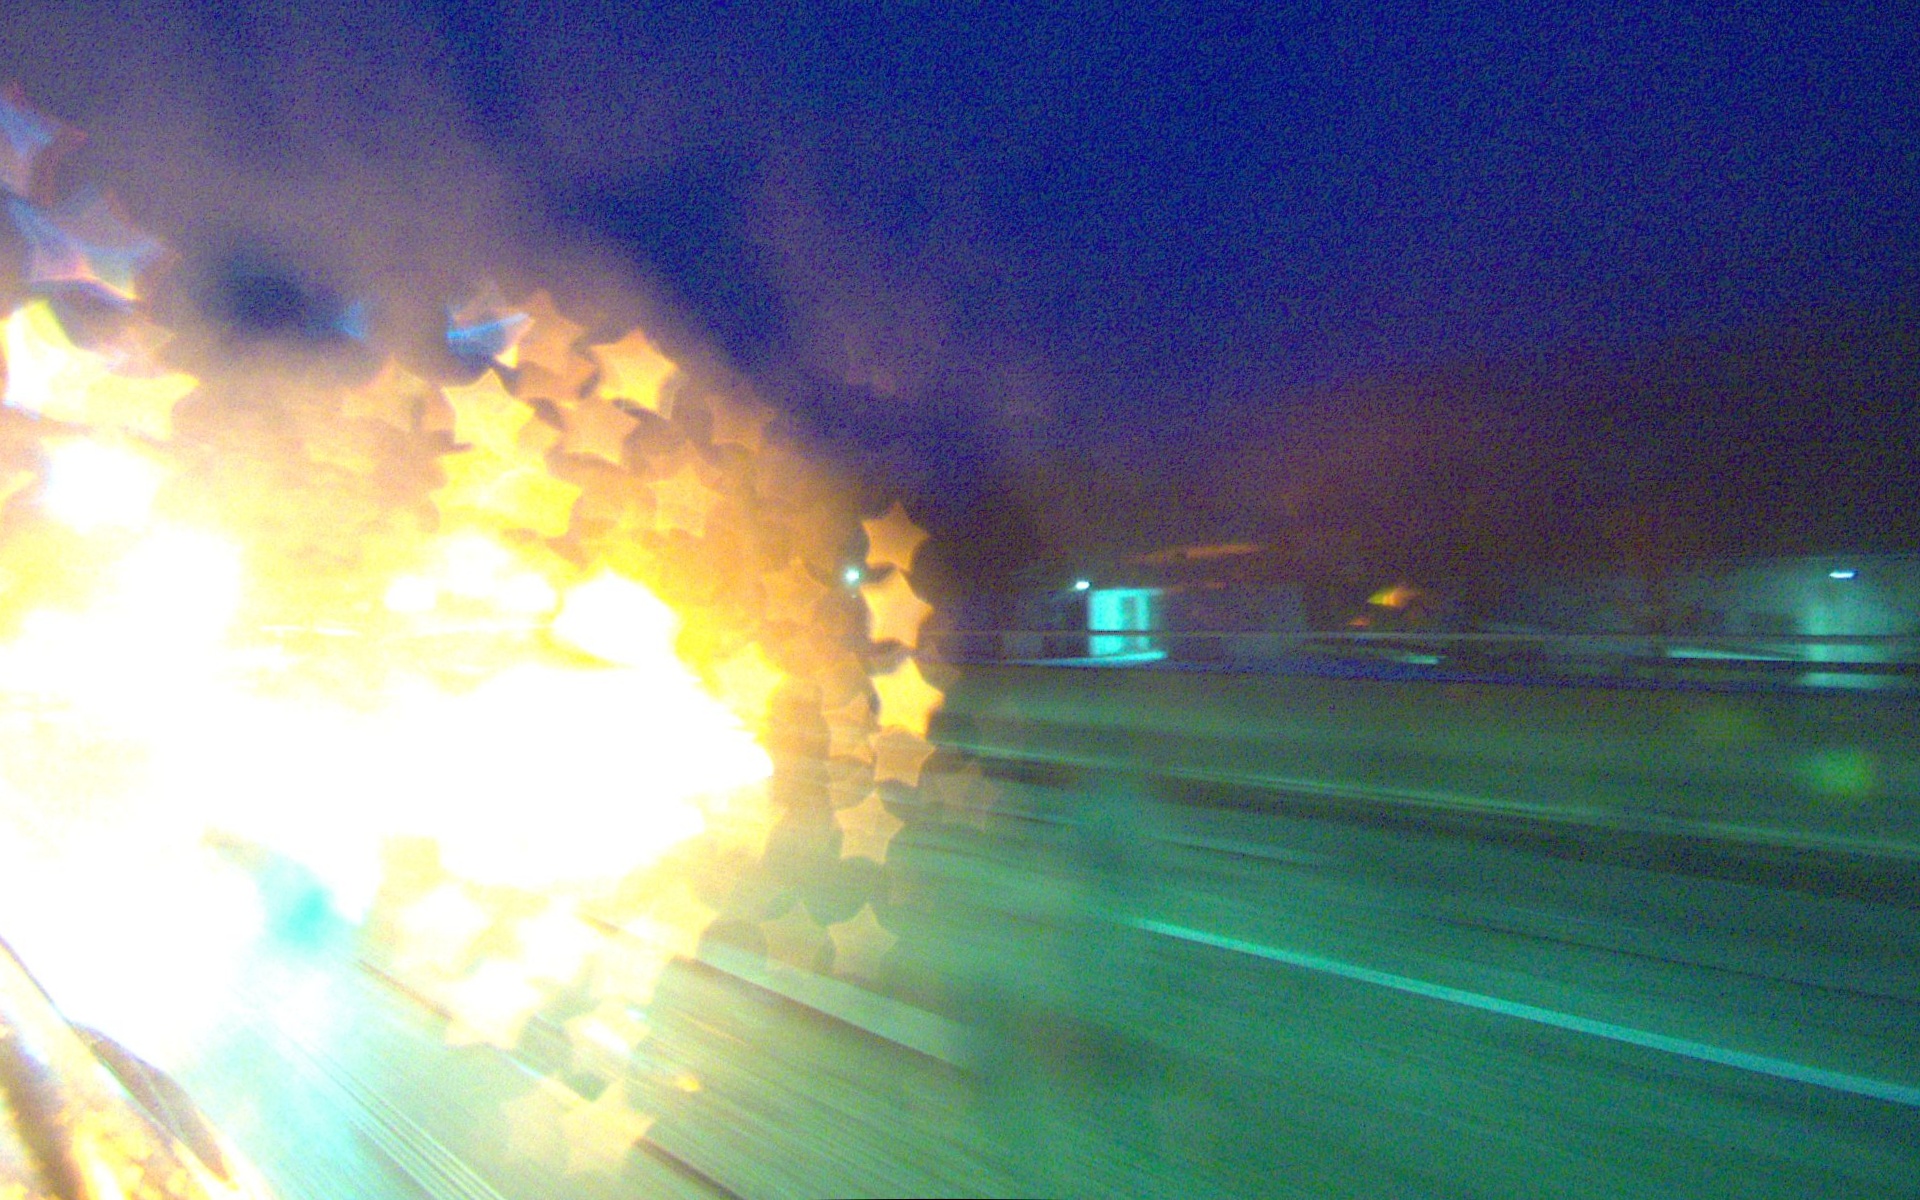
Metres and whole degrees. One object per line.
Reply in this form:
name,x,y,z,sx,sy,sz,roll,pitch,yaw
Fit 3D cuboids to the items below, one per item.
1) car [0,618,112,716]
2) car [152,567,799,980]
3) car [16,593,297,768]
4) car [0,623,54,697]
car,-15.976,1.085,17.303,3.881,1.484,1.606,-2,-1,40
car,-3.180,0.709,6.096,4.594,1.587,1.825,-2,-1,41
car,-9.564,0.820,11.905,4.443,1.681,1.825,-2,-1,41
car,-20.709,1.257,21.528,3.630,1.484,1.652,-2,-1,40
